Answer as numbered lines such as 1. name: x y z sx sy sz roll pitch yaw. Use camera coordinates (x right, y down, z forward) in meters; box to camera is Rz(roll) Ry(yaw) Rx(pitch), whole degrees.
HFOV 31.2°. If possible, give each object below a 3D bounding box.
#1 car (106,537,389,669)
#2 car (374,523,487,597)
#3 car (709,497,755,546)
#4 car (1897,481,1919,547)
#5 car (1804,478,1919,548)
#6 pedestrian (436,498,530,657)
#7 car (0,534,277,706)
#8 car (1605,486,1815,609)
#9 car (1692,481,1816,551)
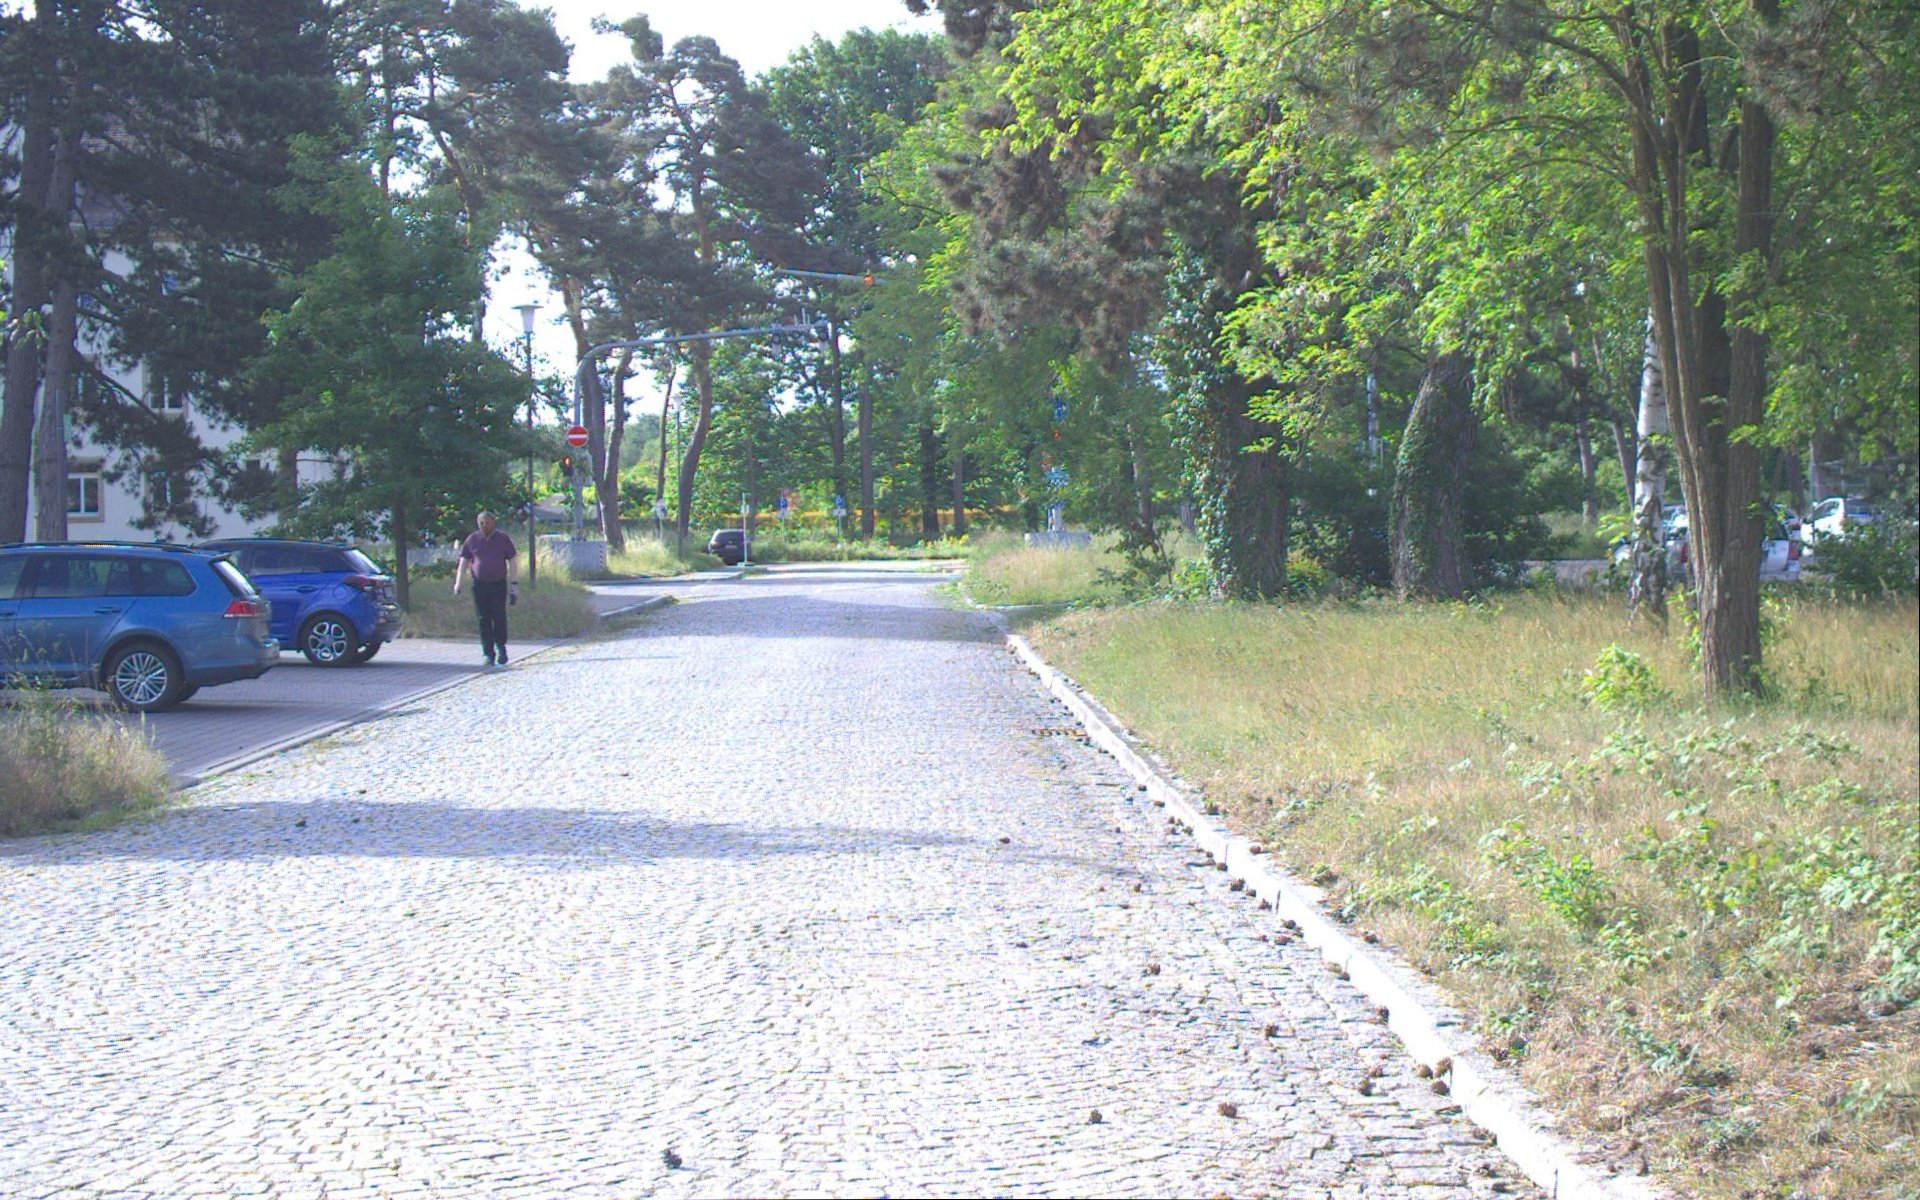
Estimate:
1. car: -8.259 0.018 40.053 3.083 1.445 1.492 -1 1 -7
2. car: -12.158 -0.938 79.130 1.993 1.612 4.000 -1 1 -1
3. car: -9.676 -3.356 146.269 1.697 2.007 4.000 -1 1 -1
4. car: 24.331 -2.110 83.511 1.993 1.612 4.000 -1 1 -1
5. car: 21.803 -2.101 83.195 1.821 1.612 4.000 -1 1 1
6. pedestrian: -5.647 -0.277 40.673 0.955 1.837 0.956 -1 1 -15
7. car: -7.752 0.161 30.726 3.083 1.452 1.492 1 1 -6
8. car: 9.844 -0.715 45.393 1.886 1.535 4.000 -1 1 0
9. car: 19.112 -2.026 82.909 1.993 1.612 4.000 -1 1 -1
